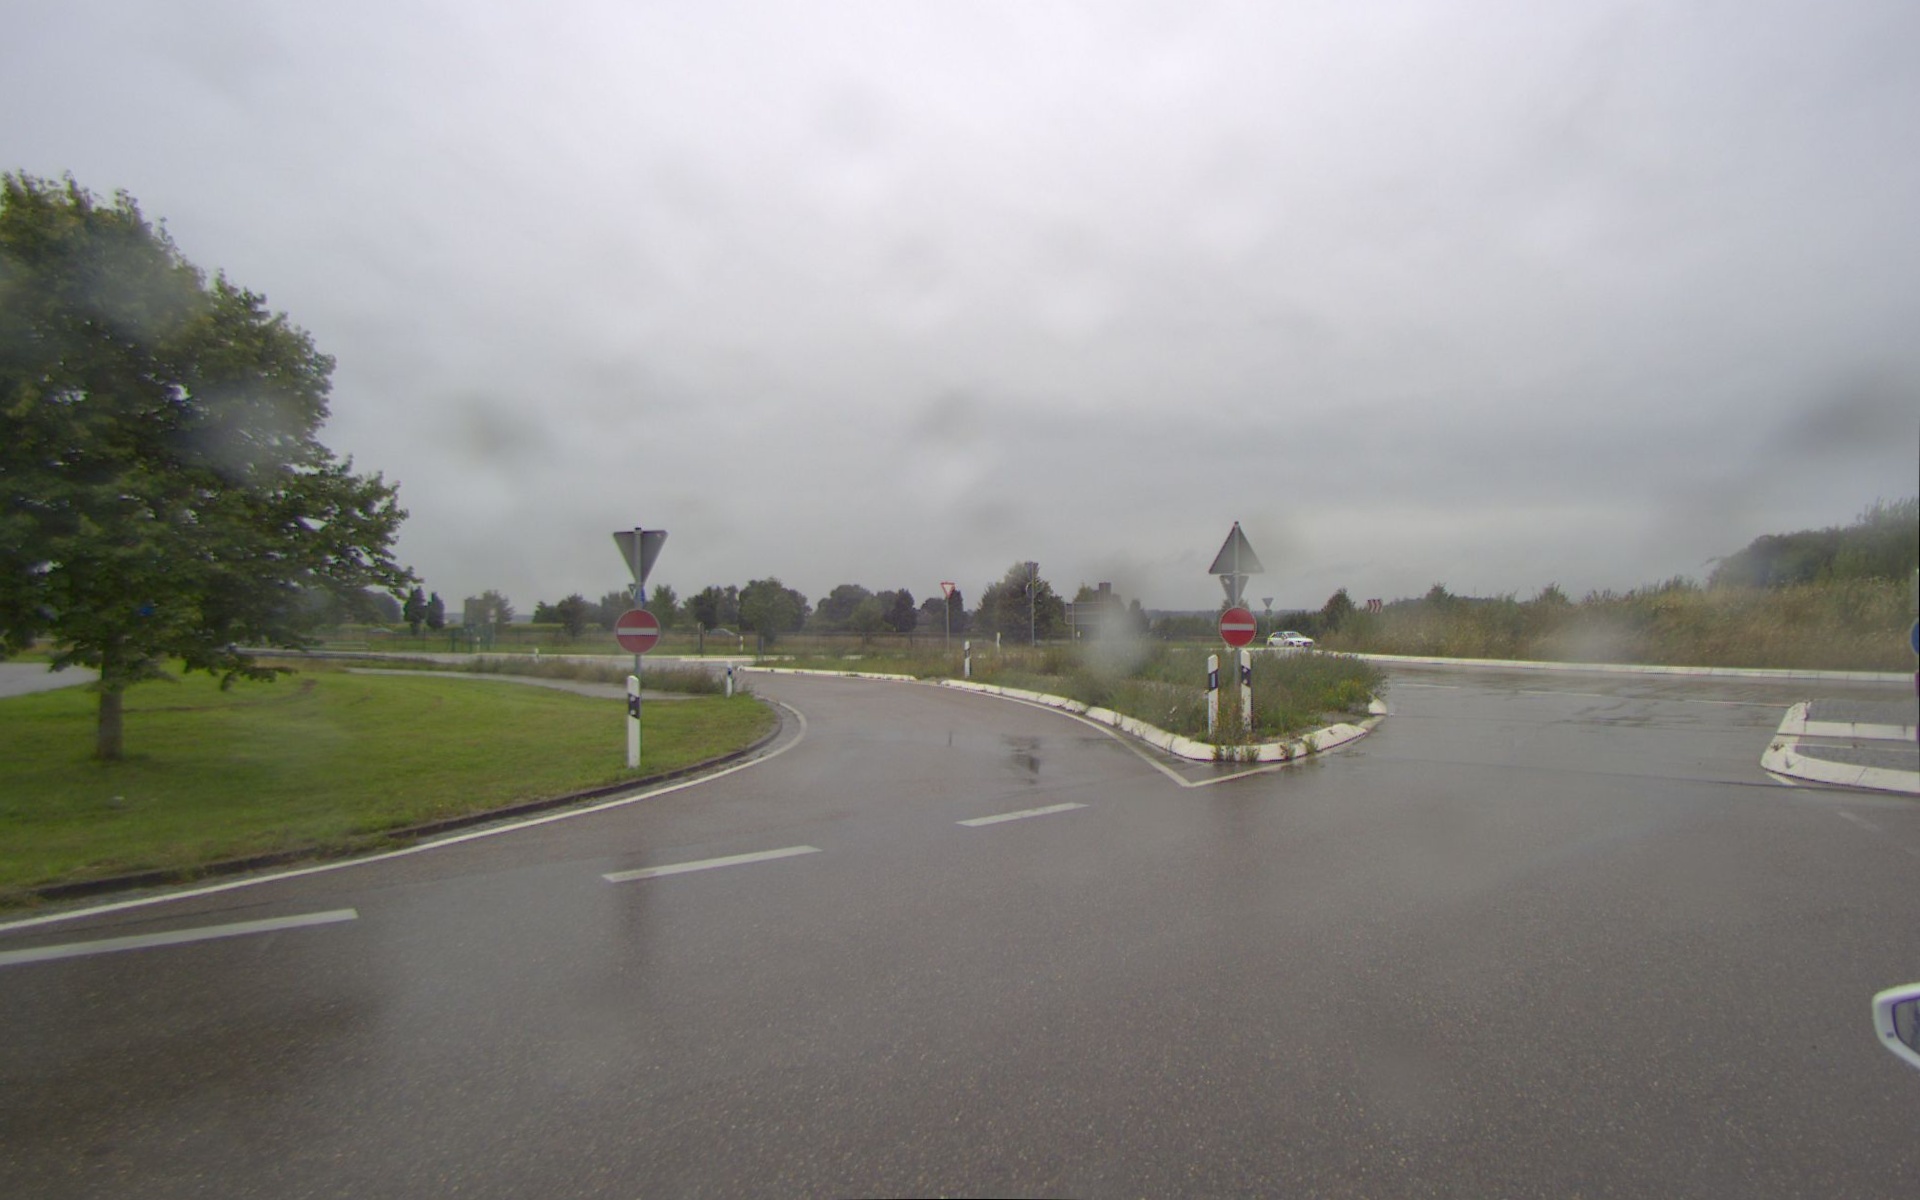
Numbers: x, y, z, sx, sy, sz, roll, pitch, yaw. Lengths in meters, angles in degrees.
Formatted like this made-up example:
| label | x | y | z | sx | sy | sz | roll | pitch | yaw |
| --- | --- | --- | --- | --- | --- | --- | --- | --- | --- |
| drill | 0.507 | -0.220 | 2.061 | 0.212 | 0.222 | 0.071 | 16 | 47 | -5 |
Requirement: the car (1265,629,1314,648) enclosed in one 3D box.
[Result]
| label | x | y | z | sx | sy | sz | roll | pitch | yaw |
| --- | --- | --- | --- | --- | --- | --- | --- | --- | --- |
| car | 25.594 | 2.977 | 78.058 | 1.624 | 1.445 | 4.309 | 1 | -2 | -13 |
